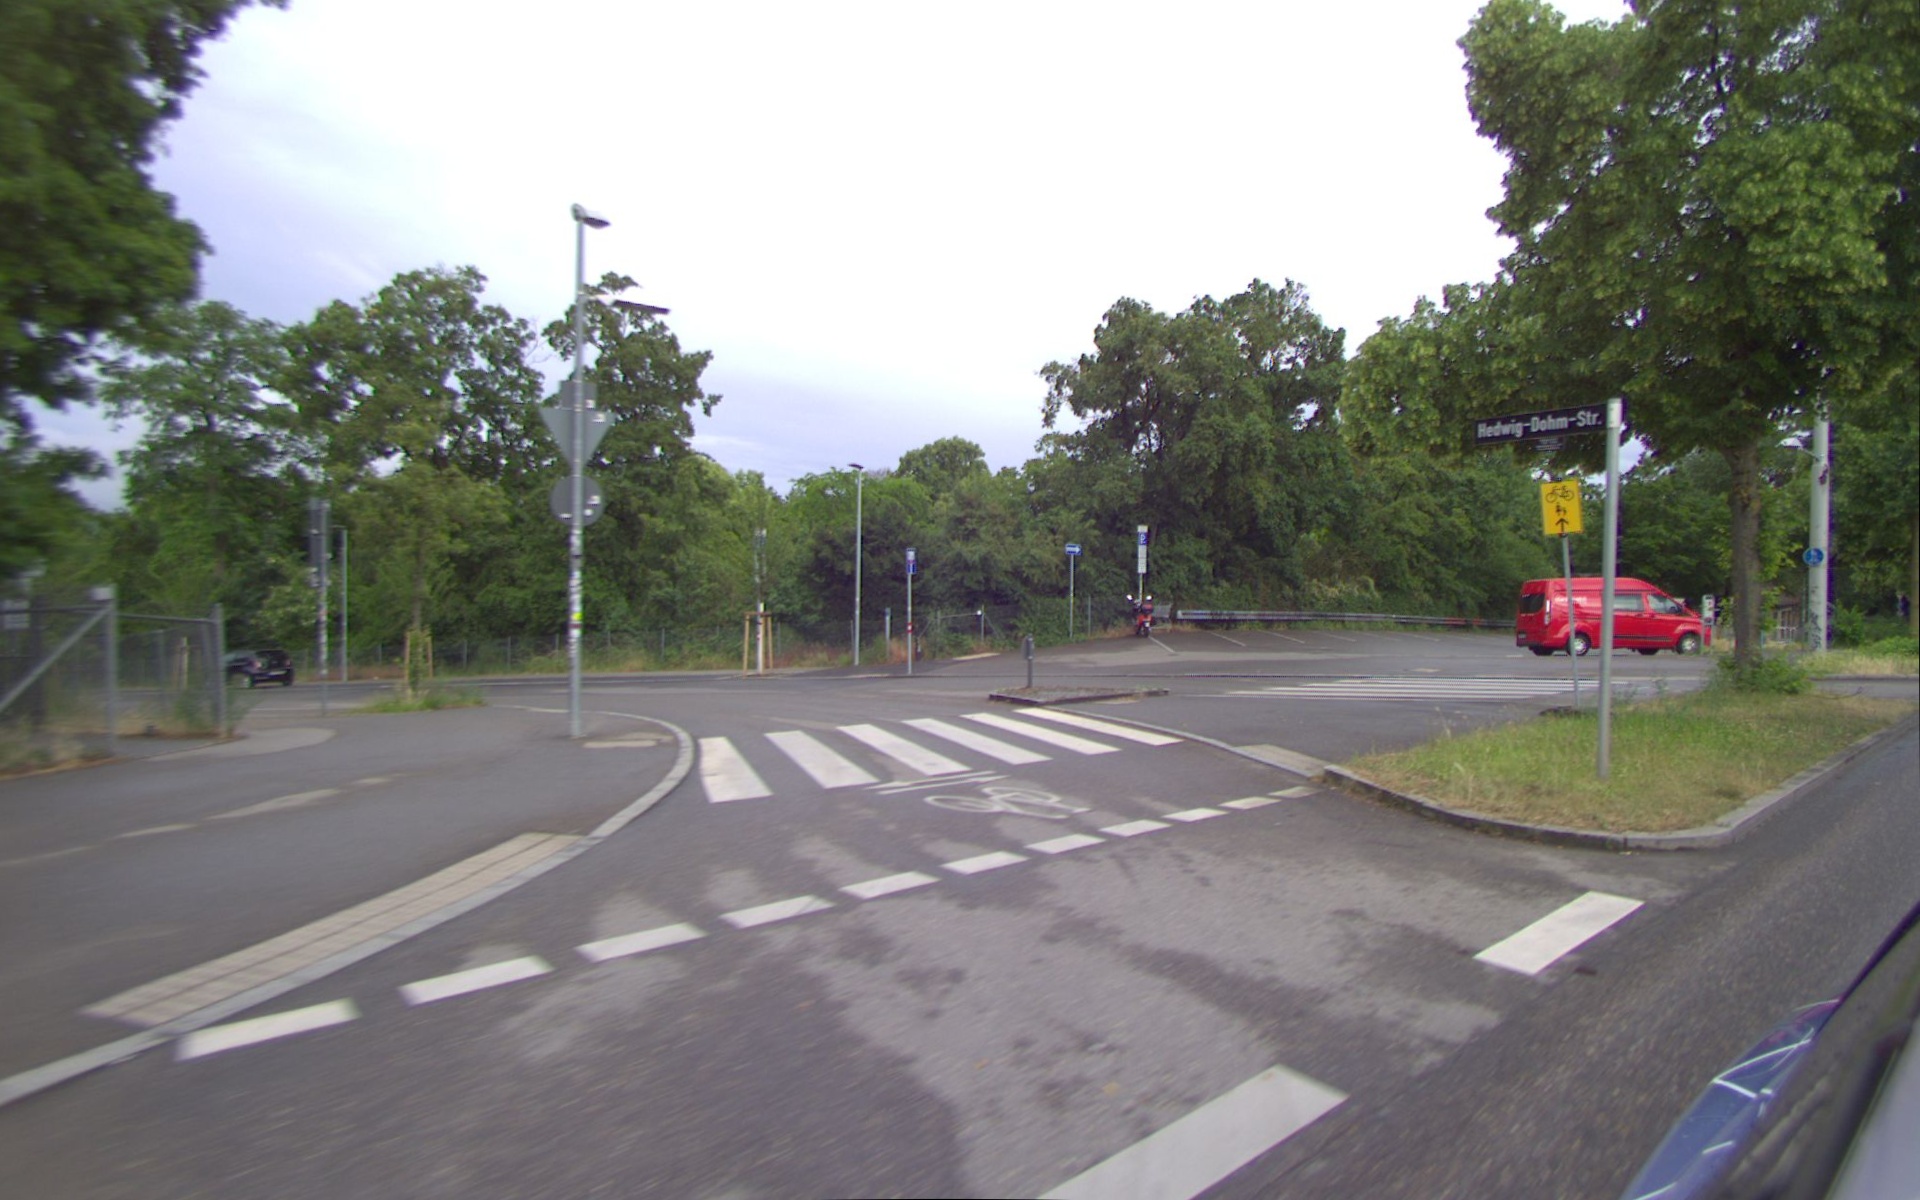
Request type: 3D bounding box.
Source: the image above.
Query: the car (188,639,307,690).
[{"bbox_3d":[-27.487,2.468,39.041,4.040,1.806,1.983,-2,-1,24],"label":"car"}]

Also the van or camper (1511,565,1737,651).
[{"bbox_3d":[19.855,0.269,30.457,5.291,2.438,2.039,-1,-3,2],"label":"van or camper"}]

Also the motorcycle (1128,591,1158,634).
[{"bbox_3d":[5.911,0.392,32.770,0.464,1.228,2.027,-3,4,-3],"label":"motorcycle"}]
